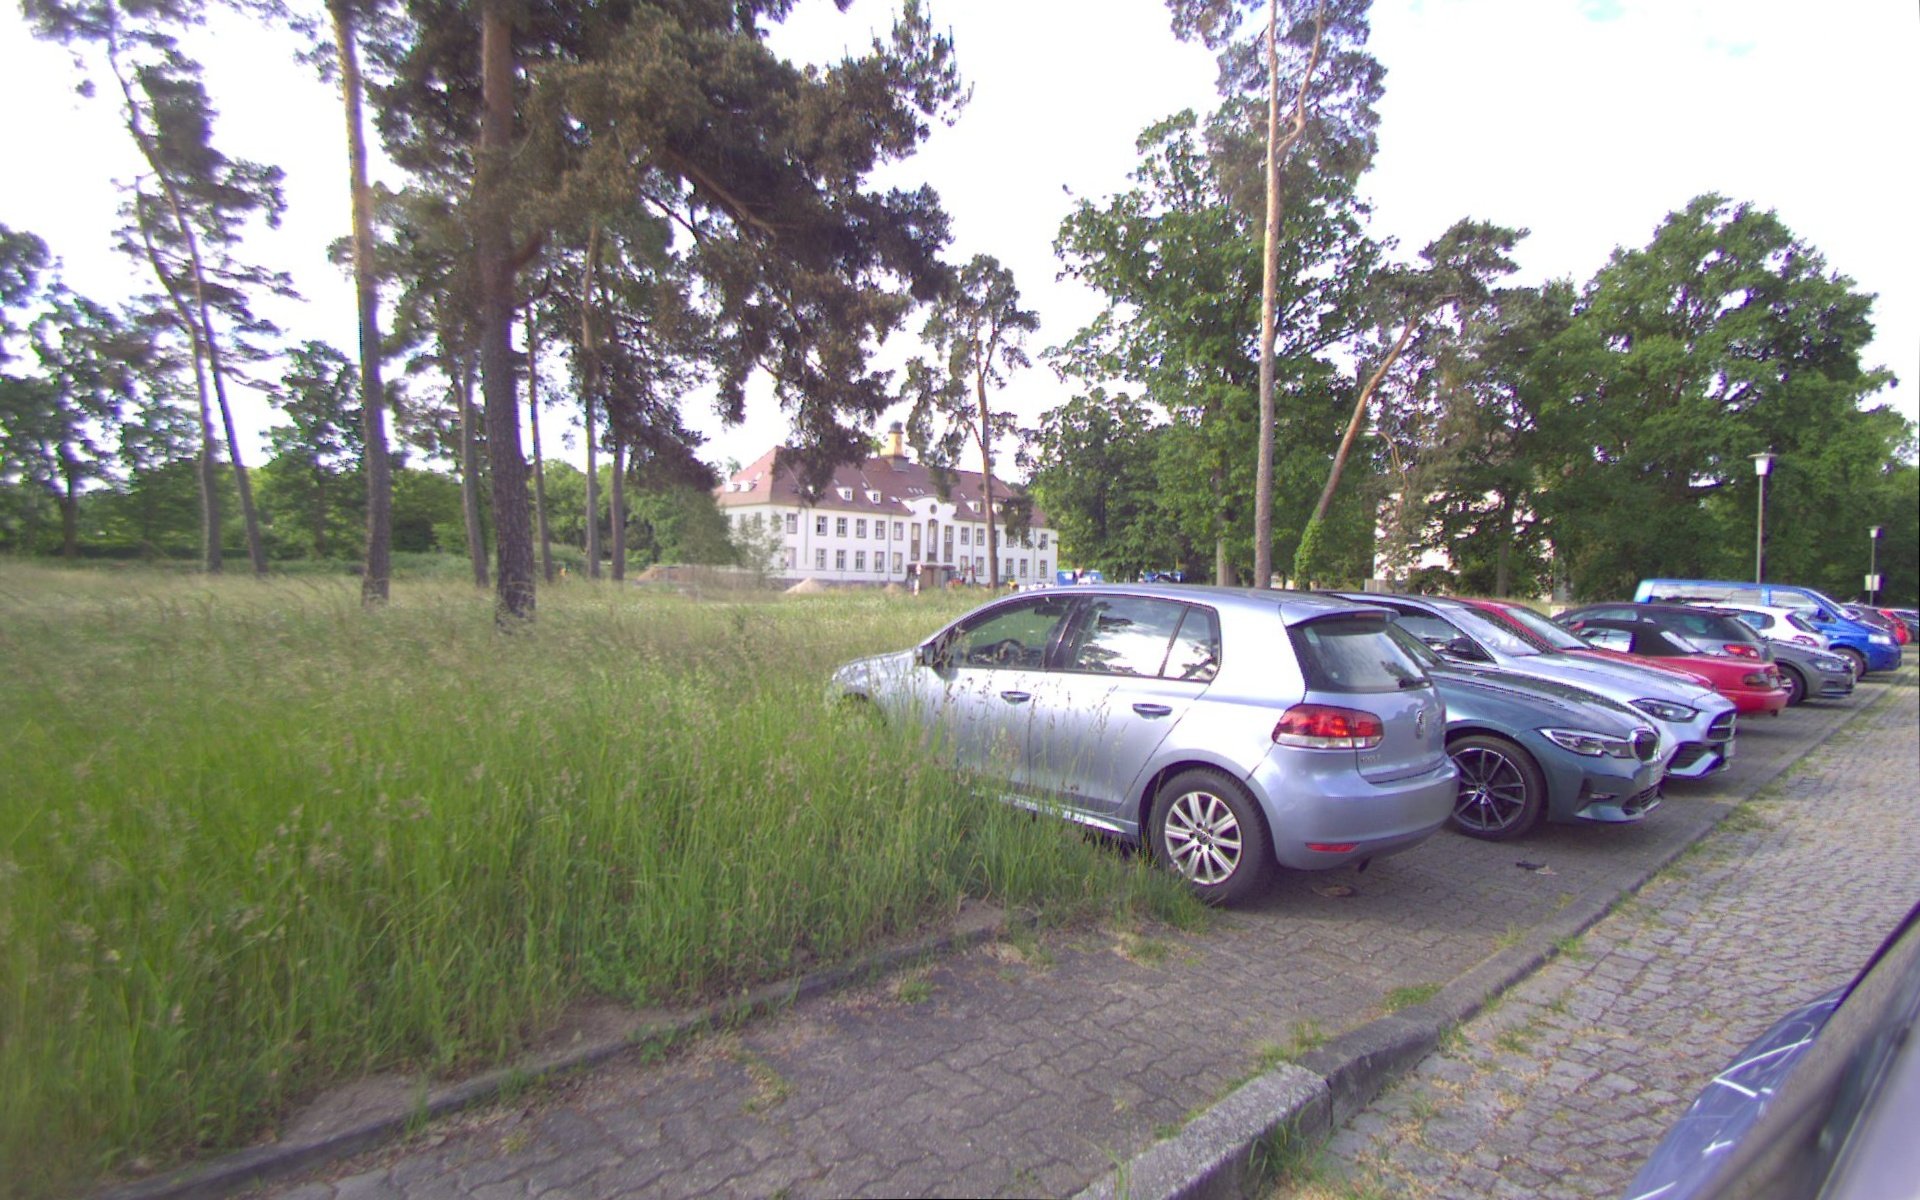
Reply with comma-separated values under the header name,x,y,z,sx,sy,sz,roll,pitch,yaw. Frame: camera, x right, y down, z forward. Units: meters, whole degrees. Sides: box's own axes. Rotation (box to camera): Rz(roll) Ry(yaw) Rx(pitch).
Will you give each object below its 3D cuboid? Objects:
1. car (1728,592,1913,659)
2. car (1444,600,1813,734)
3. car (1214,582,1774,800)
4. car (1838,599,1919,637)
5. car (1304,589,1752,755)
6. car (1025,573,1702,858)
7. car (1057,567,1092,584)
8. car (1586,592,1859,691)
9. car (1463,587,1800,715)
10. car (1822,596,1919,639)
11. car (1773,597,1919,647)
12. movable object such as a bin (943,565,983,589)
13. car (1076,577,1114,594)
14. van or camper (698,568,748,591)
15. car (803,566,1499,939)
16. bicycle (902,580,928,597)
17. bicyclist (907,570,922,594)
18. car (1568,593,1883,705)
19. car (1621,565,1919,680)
name,x,y,z,sx,sy,sz,roll,pitch,yaw
car,23.902,0.648,28.215,3.828,1.621,1.556,3,1,43
car,8.205,0.731,12.638,1.580,1.303,3.552,2,1,-42
car,4.781,0.637,9.559,1.738,1.446,4.330,0,2,-44
car,42.161,0.809,45.481,1.643,1.548,3.838,1,2,-38
car,6.240,0.654,11.500,1.690,1.441,4.113,0,2,-42
car,2.796,0.596,7.812,4.515,1.501,1.779,3,2,44
car,14.261,-3.075,126.291,3.927,2.039,2.219,0,1,-39
car,13.920,0.681,18.635,1.554,1.517,3.759,1,2,-41
car,9.684,0.634,14.813,1.577,1.522,3.832,0,2,-43
car,38.727,0.724,42.327,1.552,1.638,3.838,1,1,-38
car,31.041,0.715,35.481,3.828,1.544,1.556,3,2,43
movable object such as a bin,0.398,-2.840,124.809,1.992,2.802,5.126,2,1,41
car,14.319,-1.568,107.471,3.867,1.704,1.847,0,3,-41
van or camper,-24.937,-2.184,106.409,6.057,2.250,1.971,3,2,40
car,0.874,0.578,6.060,3.844,1.489,1.615,3,2,45
bicycle,-3.372,-0.865,75.844,1.946,1.223,0.638,0,1,-41
bicyclist,-3.401,-1.356,75.796,0.830,1.756,0.667,0,-1,-41
car,12.164,0.687,16.268,1.614,1.483,3.779,1,2,-41
car,17.784,0.376,22.321,2.025,2.047,4.951,1,3,-42
